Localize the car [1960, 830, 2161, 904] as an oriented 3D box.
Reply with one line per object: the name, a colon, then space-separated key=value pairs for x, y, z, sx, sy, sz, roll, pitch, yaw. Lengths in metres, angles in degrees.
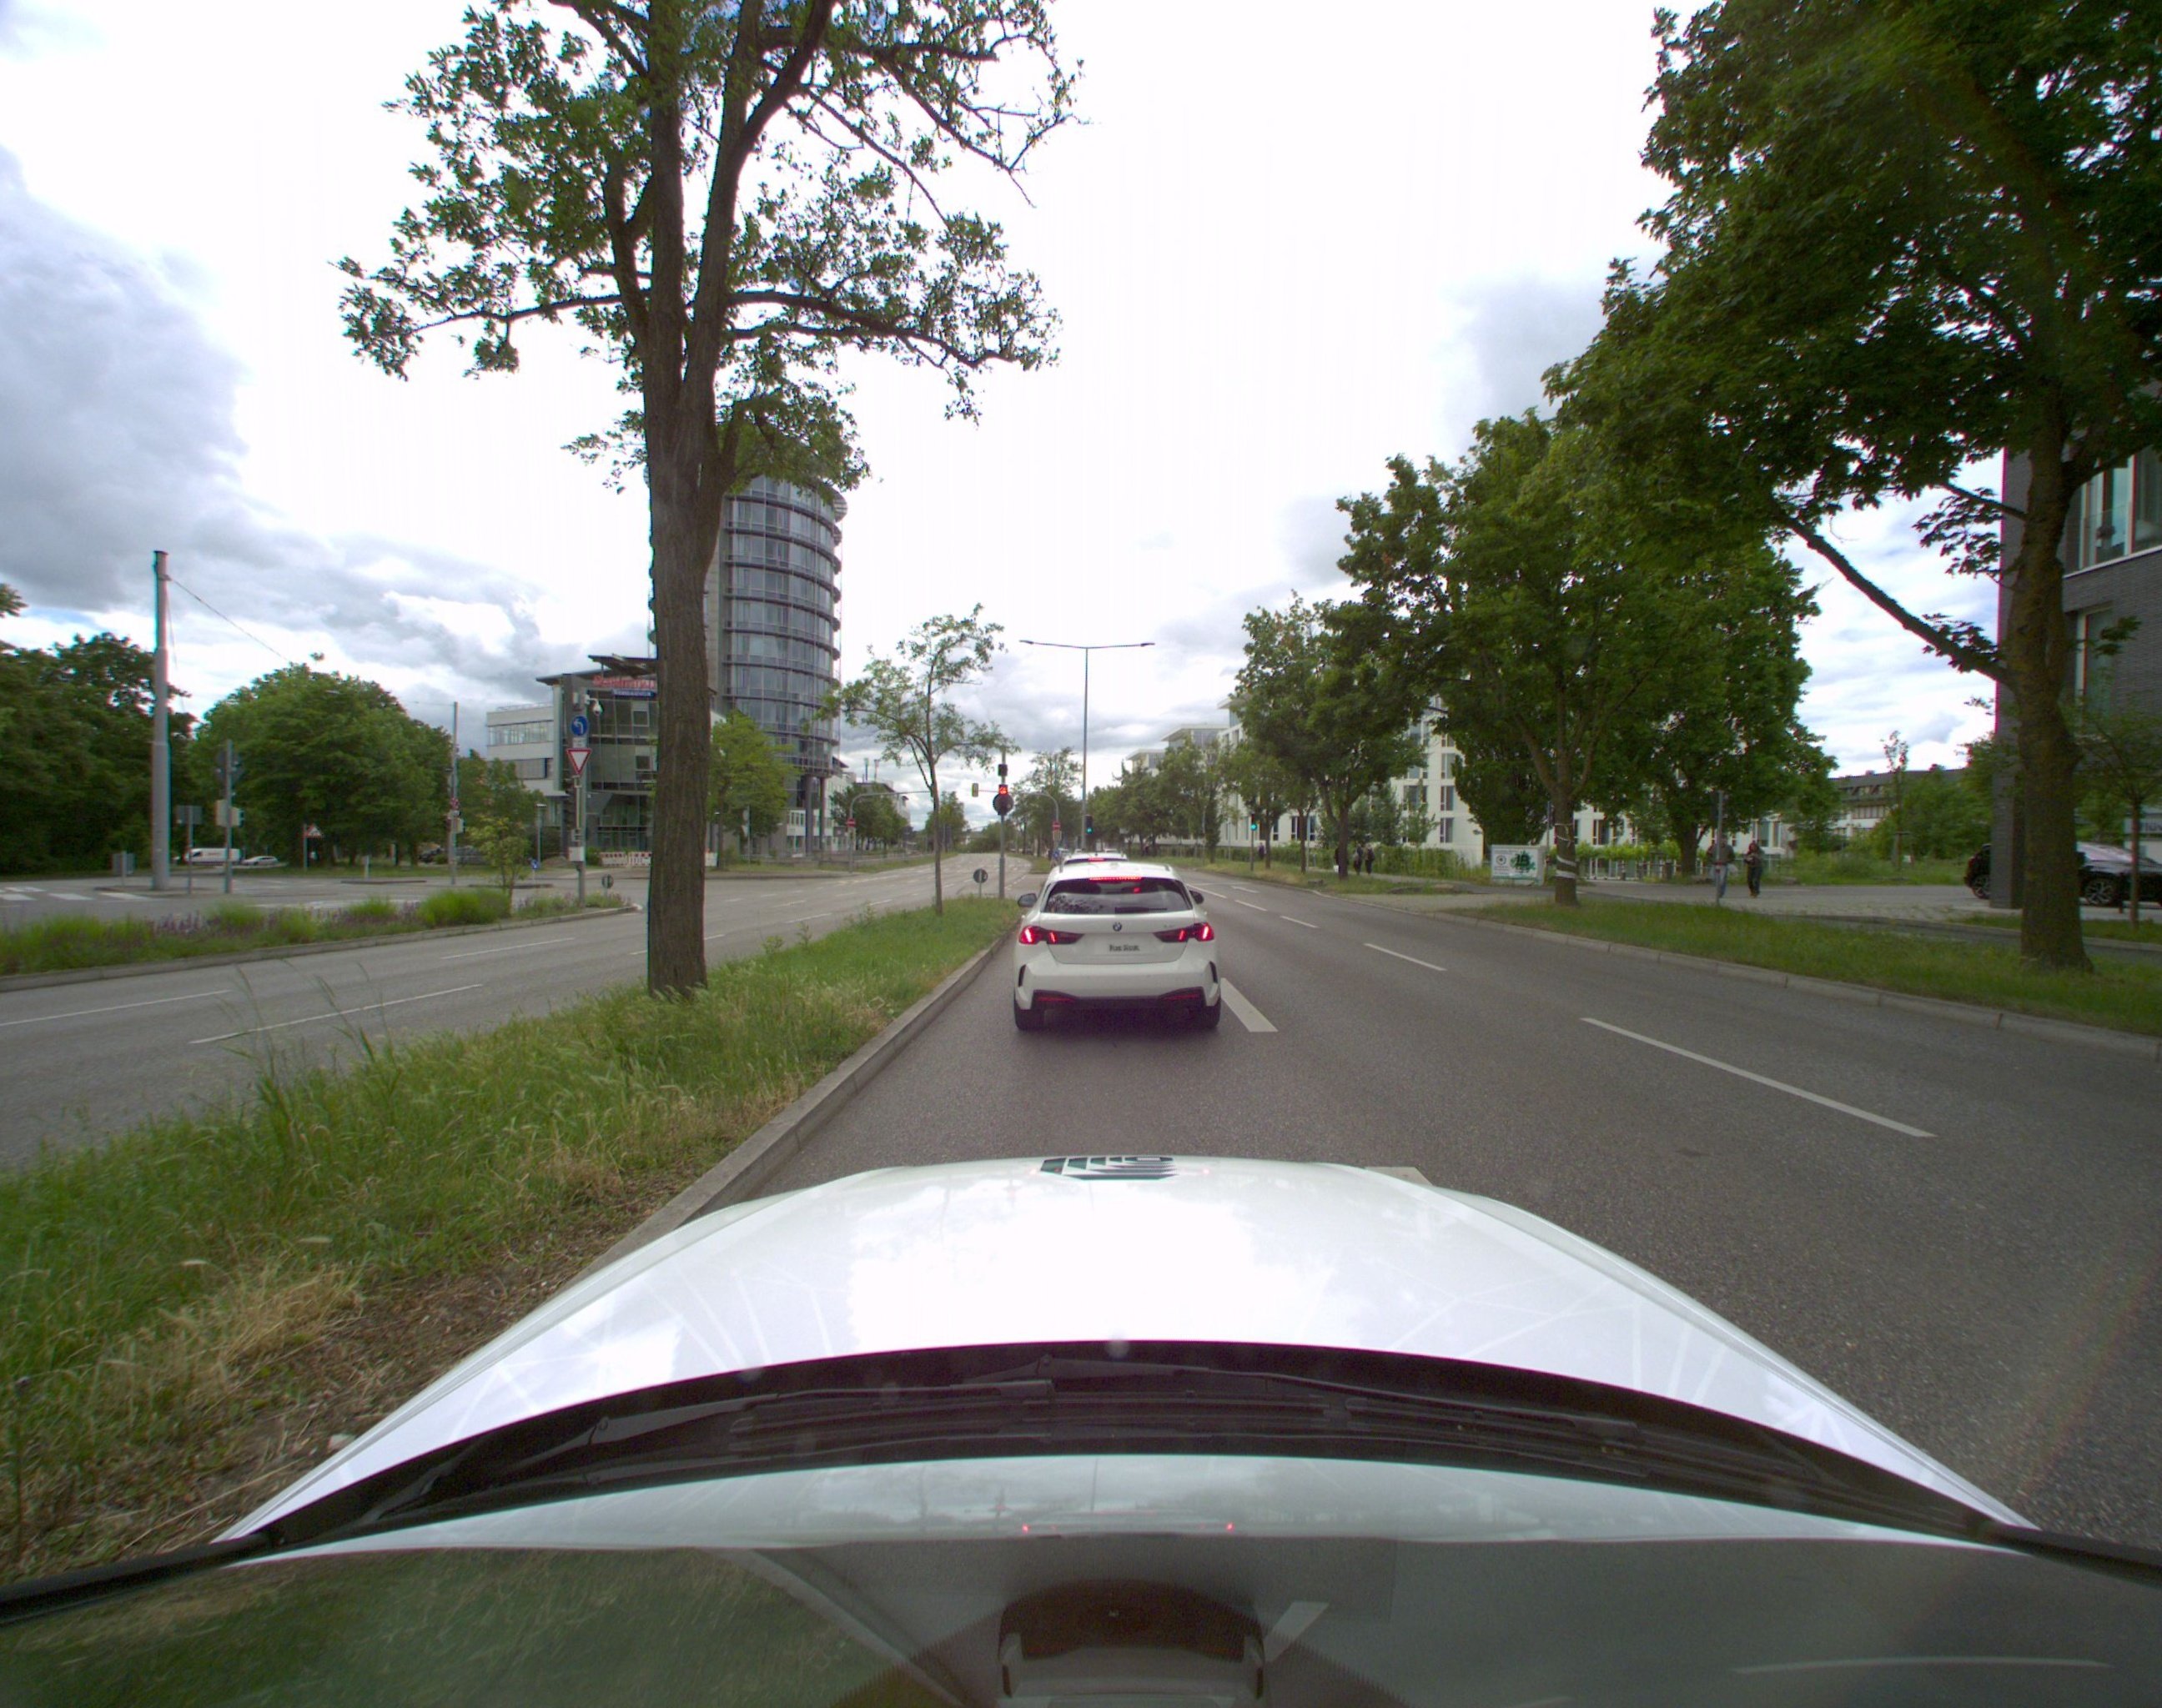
car: x=24.887 y=0.295 z=20.227 sx=1.749 sy=1.646 sz=4.151 roll=0 pitch=0 yaw=2

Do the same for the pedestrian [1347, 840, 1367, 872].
pedestrian: x=13.653 y=0.103 z=40.341 sx=0.697 sy=1.595 sz=0.883 roll=0 pitch=-1 yaw=1

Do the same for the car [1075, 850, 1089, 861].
car: x=0.136 y=0.214 z=120.740 sx=1.690 sy=1.486 sz=3.686 roll=0 pitch=0 yaw=-5

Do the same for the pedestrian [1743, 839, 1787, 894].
pedestrian: x=19.692 y=0.357 z=23.447 sx=0.880 sy=1.557 sz=0.825 roll=0 pitch=0 yaw=-38

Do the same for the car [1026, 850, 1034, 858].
car: x=-11.588 y=0.004 z=185.616 sx=1.597 sy=1.666 sz=3.997 roll=0 pitch=0 yaw=-2

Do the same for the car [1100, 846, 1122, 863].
car: x=3.102 y=0.087 z=84.226 sx=1.988 sy=1.670 sz=3.998 roll=-2 pitch=0 yaw=-1

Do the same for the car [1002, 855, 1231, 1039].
car: x=0.344 y=0.737 z=8.453 sx=1.815 sy=1.438 sz=4.002 roll=0 pitch=0 yaw=2

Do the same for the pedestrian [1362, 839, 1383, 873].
pedestrian: x=14.425 y=0.097 z=40.313 sx=0.764 sy=1.685 sz=0.883 roll=0 pitch=-1 yaw=1

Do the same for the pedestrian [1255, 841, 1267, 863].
pedestrian: x=13.179 y=-0.117 z=59.560 sx=0.739 sy=1.574 sz=0.674 roll=0 pitch=-1 yaw=0

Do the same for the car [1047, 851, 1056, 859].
car: x=-5.981 y=0.202 z=166.805 sx=1.734 sy=1.666 sz=3.997 roll=0 pitch=0 yaw=-2

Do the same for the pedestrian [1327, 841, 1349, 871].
pedestrian: x=12.767 y=0.110 z=40.471 sx=0.786 sy=1.448 sz=1.112 roll=0 pitch=-1 yaw=1

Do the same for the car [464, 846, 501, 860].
car: x=-37.366 y=-0.065 z=50.885 sx=0.766 sy=0.876 sz=1.730 roll=0 pitch=0 yaw=38

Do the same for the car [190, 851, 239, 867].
car: x=-128.876 y=0.771 z=121.198 sx=1.978 sy=2.338 sz=4.570 roll=0 pitch=0 yaw=16

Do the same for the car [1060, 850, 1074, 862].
car: x=-1.900 y=0.283 z=112.429 sx=1.692 sy=1.717 sz=3.994 roll=0 pitch=0 yaw=-4

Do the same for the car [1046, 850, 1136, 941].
car: x=0.238 y=0.710 z=15.981 sx=1.544 sy=1.569 sz=4.002 roll=0 pitch=0 yaw=2

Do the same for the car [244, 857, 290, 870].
car: x=-123.638 y=1.413 z=123.718 sx=1.978 sy=2.034 sz=4.570 roll=0 pitch=0 yaw=16

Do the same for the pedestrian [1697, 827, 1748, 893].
pedestrian: x=18.759 y=0.166 z=23.810 sx=0.983 sy=1.868 sz=0.952 roll=0 pitch=0 yaw=-38
